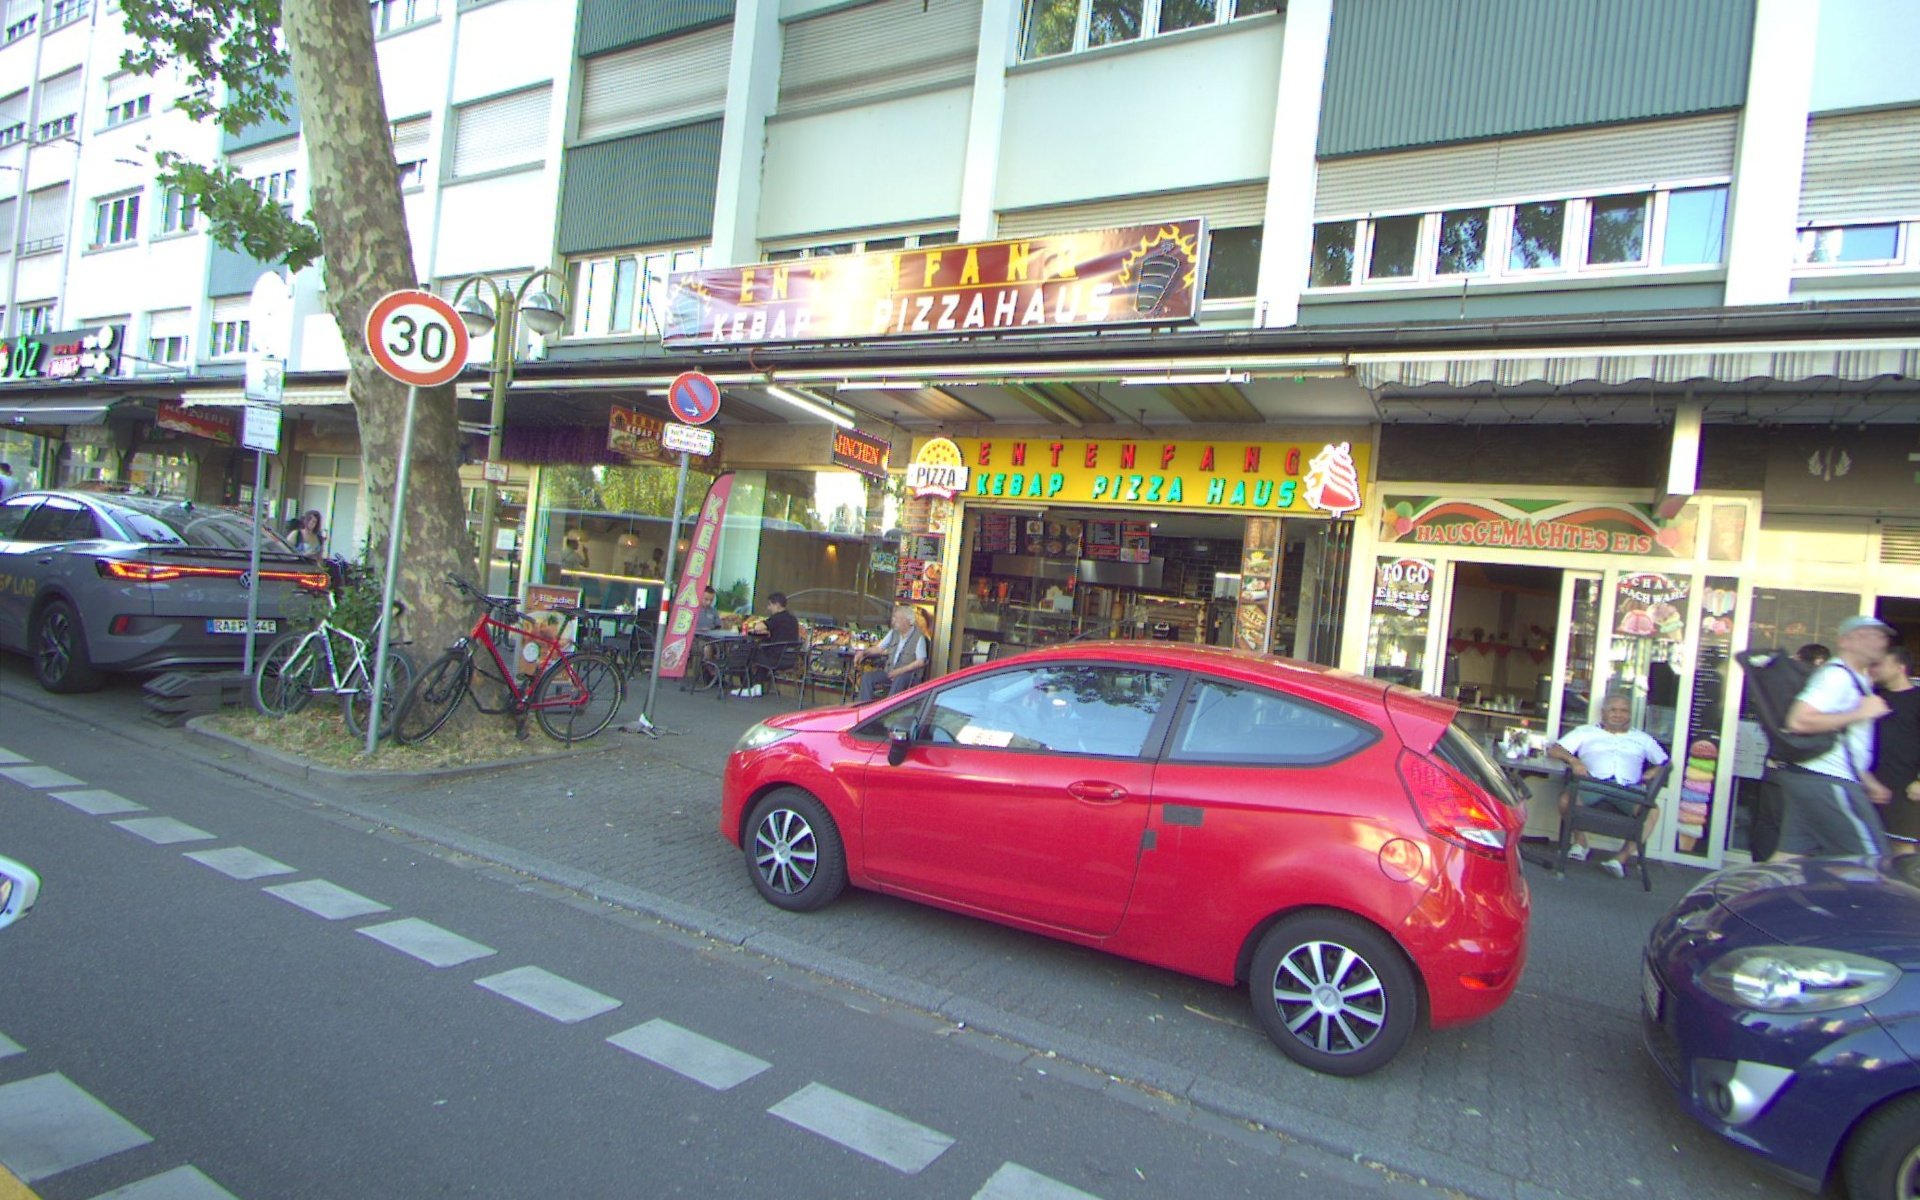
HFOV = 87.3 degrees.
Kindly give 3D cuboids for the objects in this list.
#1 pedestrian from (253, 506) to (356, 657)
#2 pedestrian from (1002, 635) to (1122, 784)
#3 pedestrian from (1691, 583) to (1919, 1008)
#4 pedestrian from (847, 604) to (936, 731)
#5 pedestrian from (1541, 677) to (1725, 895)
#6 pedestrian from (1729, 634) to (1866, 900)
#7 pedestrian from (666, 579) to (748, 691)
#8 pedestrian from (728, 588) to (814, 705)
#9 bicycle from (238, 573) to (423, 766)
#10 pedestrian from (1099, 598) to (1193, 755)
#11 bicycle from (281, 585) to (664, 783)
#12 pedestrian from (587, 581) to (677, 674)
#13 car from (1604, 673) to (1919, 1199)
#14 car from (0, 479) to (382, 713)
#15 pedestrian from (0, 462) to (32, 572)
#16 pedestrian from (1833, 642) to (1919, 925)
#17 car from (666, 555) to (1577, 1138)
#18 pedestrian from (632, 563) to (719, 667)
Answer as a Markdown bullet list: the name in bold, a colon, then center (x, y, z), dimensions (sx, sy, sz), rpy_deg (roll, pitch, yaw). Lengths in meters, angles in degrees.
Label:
- **pedestrian**: center (-7.750, -0.210, 11.900), dimensions (0.783, 1.667, 0.583), rpy_deg (8, 1, 30)
- **pedestrian**: center (0.952, 0.984, 9.341), dimensions (0.798, 1.225, 0.654), rpy_deg (7, 2, 28)
- **pedestrian**: center (4.554, 0.963, 5.309), dimensions (0.875, 1.983, 0.647), rpy_deg (7, 1, 31)
- **pedestrian**: center (-0.730, 0.711, 10.797), dimensions (0.550, 1.252, 0.689), rpy_deg (7, 2, 29)
- **pedestrian**: center (4.939, 1.313, 7.482), dimensions (0.937, 1.352, 1.069), rpy_deg (7, 0, 30)
- **pedestrian**: center (6.005, 1.167, 7.238), dimensions (0.547, 1.802, 0.395), rpy_deg (6, 2, 29)
- **pedestrian**: center (-3.078, 0.422, 12.236), dimensions (0.680, 1.261, 0.557), rpy_deg (7, 2, 38)
- **pedestrian**: center (-2.204, 0.539, 11.744), dimensions (0.679, 1.261, 0.558), rpy_deg (7, 2, 33)
- **bicycle**: center (-4.548, 0.465, 7.242), dimensions (1.421, 1.169, 0.553), rpy_deg (6, 0, 36)
- **pedestrian**: center (1.991, 0.811, 10.737), dimensions (0.589, 1.566, 0.700), rpy_deg (7, 0, 34)
- **bicycle**: center (-3.326, 0.519, 7.104), dimensions (0.547, 1.171, 2.377), rpy_deg (7, 4, 44)
- **pedestrian**: center (-4.300, 0.359, 13.242), dimensions (0.940, 1.094, 0.639), rpy_deg (7, 0, -9)
- **car**: center (4.089, 1.221, 2.857), dimensions (3.549, 1.488, 1.767), rpy_deg (6, 3, 29)
- **car**: center (-7.668, -0.166, 9.245), dimensions (4.292, 1.603, 1.996), rpy_deg (7, 2, 27)
- **pedestrian**: center (-18.457, -1.616, 19.268), dimensions (0.773, 2.038, 0.686), rpy_deg (7, 1, 32)
- **pedestrian**: center (6.385, 1.216, 6.754), dimensions (0.391, 1.805, 0.552), rpy_deg (4, 2, -29)
- **car**: center (0.653, 0.782, 4.913), dimensions (3.757, 1.617, 1.783), rpy_deg (6, 3, 28)
- **pedestrian**: center (-4.061, 0.215, 14.432), dimensions (0.958, 1.350, 0.830), rpy_deg (6, 0, -9)
